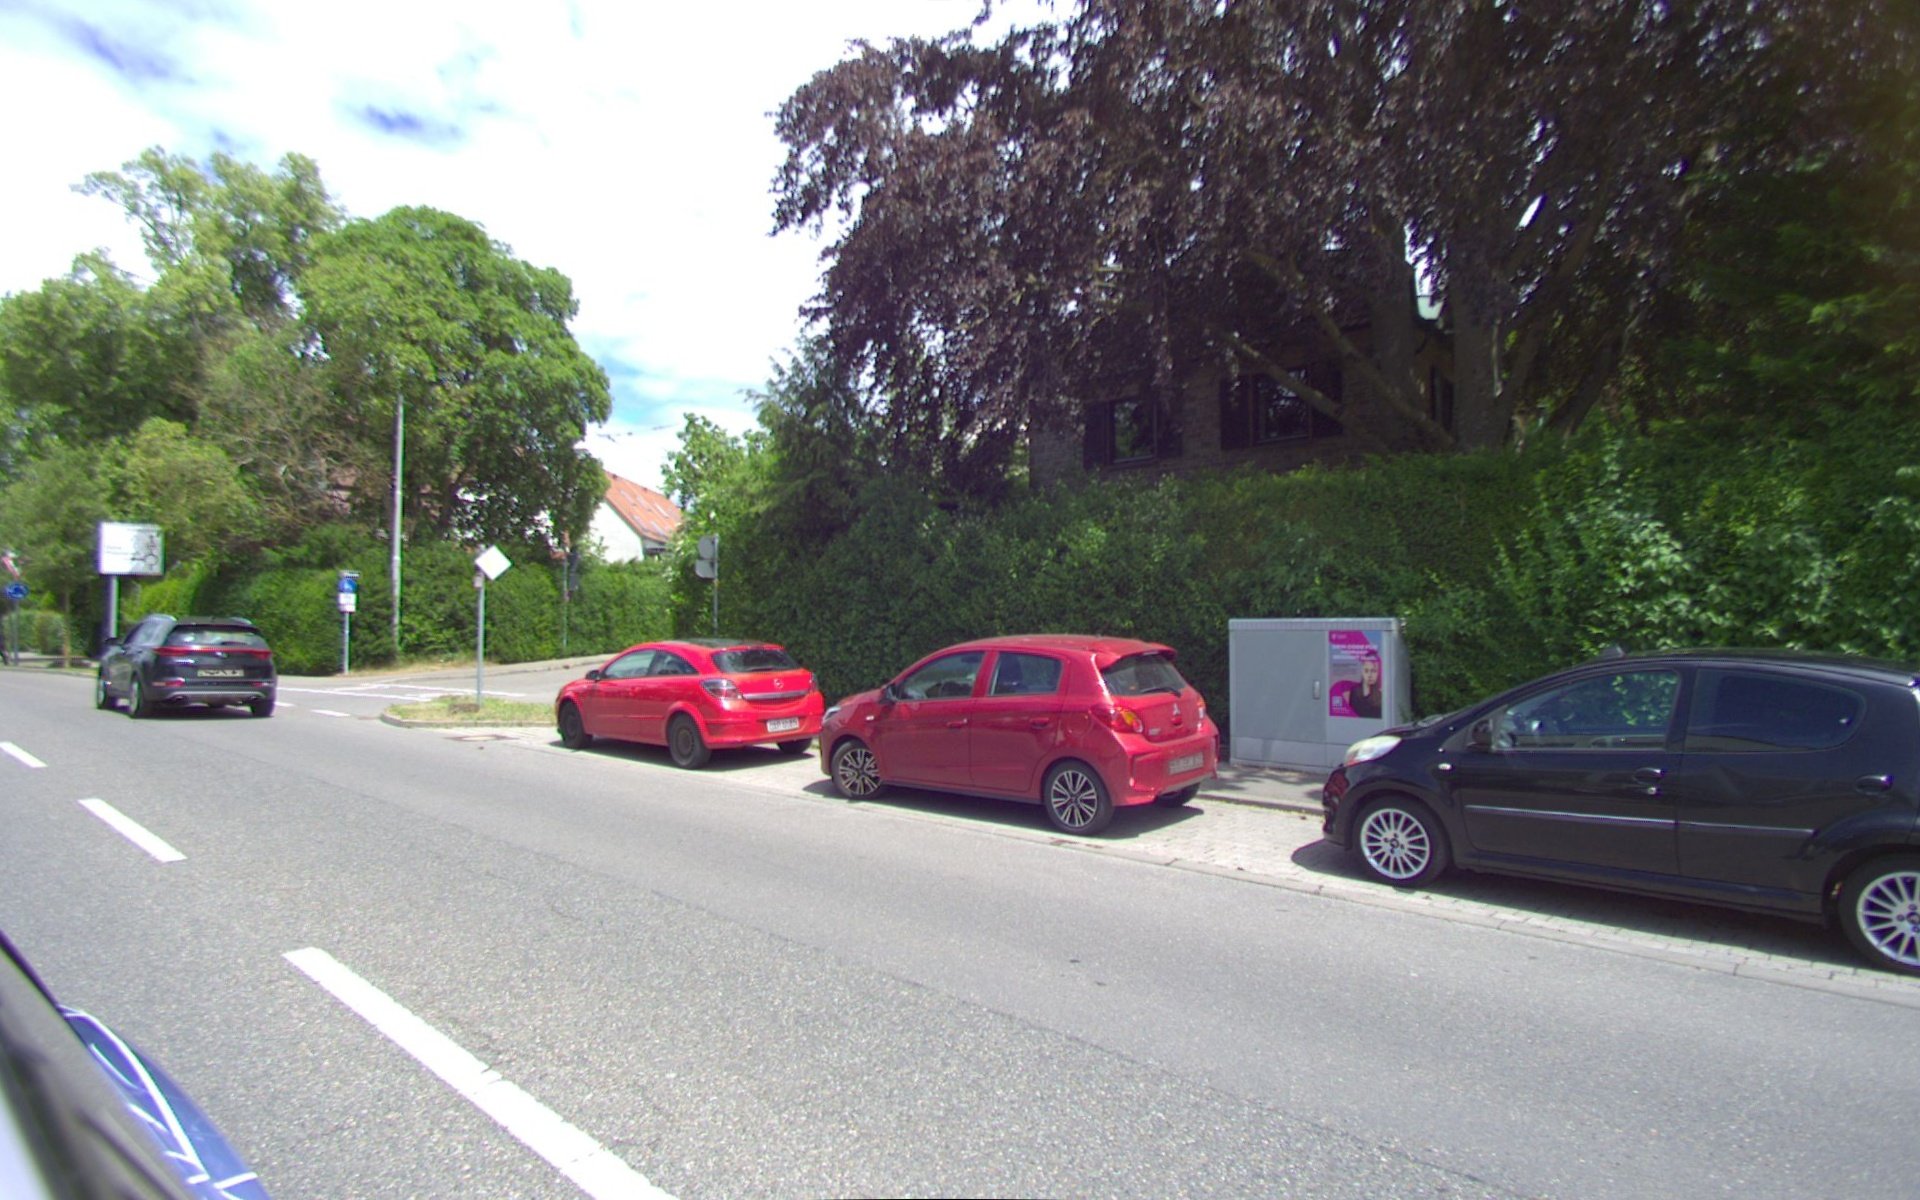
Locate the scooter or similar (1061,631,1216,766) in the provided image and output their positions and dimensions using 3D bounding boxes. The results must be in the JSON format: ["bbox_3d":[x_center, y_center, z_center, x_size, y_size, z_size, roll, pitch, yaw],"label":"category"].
[{"bbox_3d":[2.008,1.073,11.561,1.649,1.423,0.663,-2,-2,44],"label":"scooter or similar"}]

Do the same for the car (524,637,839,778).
[{"bbox_3d":[-3.628,1.190,12.651,4.565,1.388,1.642,-1,-1,43],"label":"car"}]

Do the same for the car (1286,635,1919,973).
[{"bbox_3d":[3.955,0.954,5.872,3.596,1.461,1.578,-2,-2,43],"label":"car"}]

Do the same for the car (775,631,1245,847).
[{"bbox_3d":[0.269,1.029,9.054,4.103,1.461,1.632,-1,-1,42],"label":"car"}]

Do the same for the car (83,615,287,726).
[{"bbox_3d":[-13.114,1.126,17.053,4.149,1.629,1.814,-1,-4,40],"label":"car"}]

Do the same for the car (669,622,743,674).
[{"bbox_3d":[-8.199,1.520,32.871,1.569,1.567,2.775,0,-1,4],"label":"car"}]
